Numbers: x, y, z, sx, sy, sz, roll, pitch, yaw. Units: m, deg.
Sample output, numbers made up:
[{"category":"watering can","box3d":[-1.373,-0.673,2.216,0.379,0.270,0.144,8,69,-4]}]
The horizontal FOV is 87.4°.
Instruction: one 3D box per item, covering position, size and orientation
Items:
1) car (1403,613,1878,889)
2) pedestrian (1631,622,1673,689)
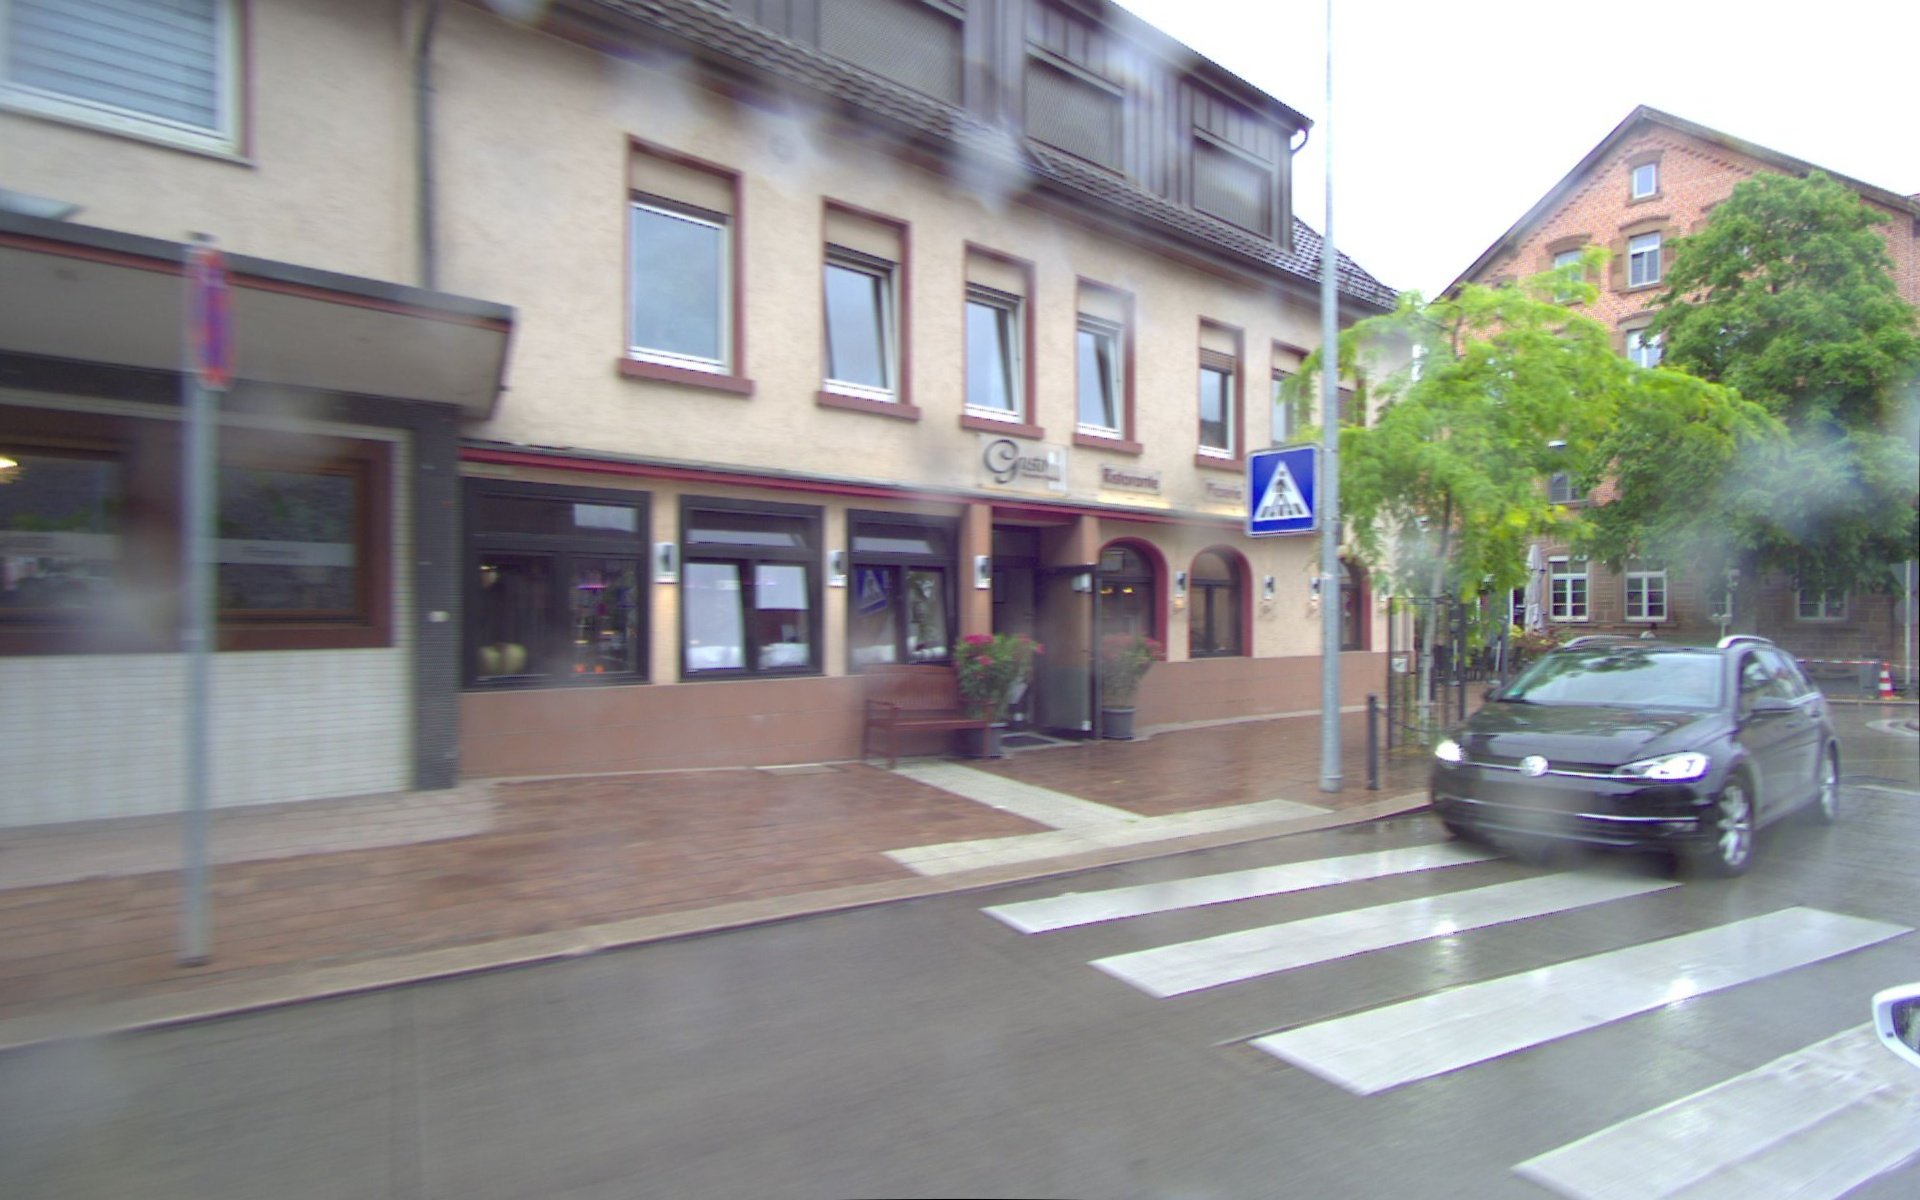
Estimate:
[{"category":"car","box3d":[5.354,0.891,7.668,4.429,1.528,1.772,1,-1,-38]},{"category":"pedestrian","box3d":[20.362,1.629,29.553,0.831,1.911,0.820,2,0,45]}]
